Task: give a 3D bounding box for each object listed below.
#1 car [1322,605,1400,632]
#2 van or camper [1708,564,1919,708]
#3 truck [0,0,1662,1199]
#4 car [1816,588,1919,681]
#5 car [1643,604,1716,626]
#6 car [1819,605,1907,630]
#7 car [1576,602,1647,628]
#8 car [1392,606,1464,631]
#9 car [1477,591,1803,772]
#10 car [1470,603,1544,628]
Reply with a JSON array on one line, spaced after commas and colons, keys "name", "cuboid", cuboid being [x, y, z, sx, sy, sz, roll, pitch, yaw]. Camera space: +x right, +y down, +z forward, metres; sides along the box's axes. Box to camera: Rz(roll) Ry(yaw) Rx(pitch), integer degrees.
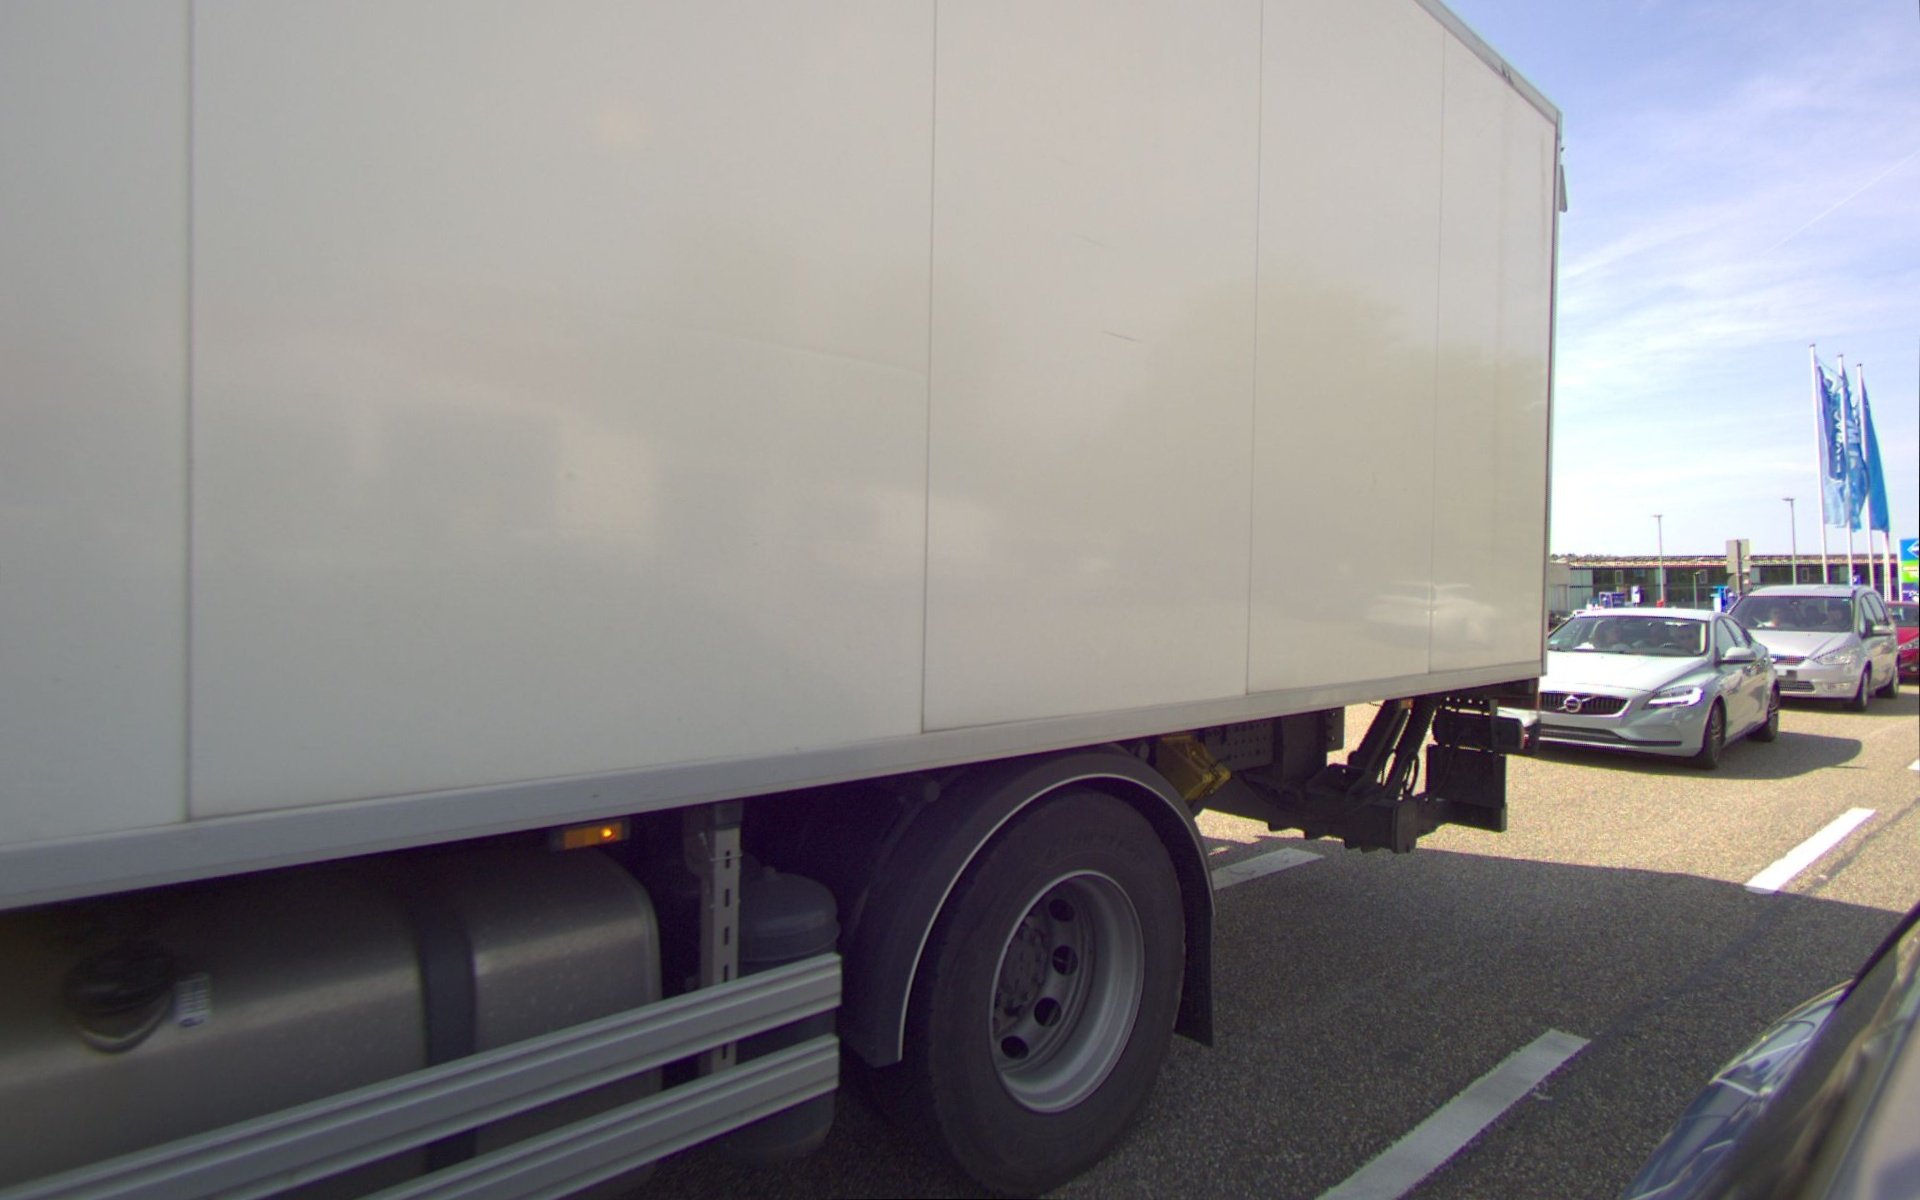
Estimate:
[{"name": "car", "cuboid": [26.482, 1.211, 66.816, 4.436, 1.625, 1.893, -1, -1, -12]}, {"name": "van or camper", "cuboid": [12.872, 0.459, 15.101, 5.045, 1.810, 1.749, 0, -1, -42]}, {"name": "truck", "cuboid": [-1.633, -0.469, 2.412, 10.948, 3.860, 2.883, 0, -1, -42]}, {"name": "car", "cuboid": [17.674, 0.582, 18.982, 3.646, 1.592, 1.805, 0, 1, -38]}, {"name": "car", "cuboid": [49.181, 1.040, 69.252, 1.785, 1.477, 4.051, 1, -1, -8]}, {"name": "car", "cuboid": [63.238, 1.236, 70.986, 1.785, 1.659, 4.471, 1, -1, -8]}, {"name": "car", "cuboid": [43.721, 1.012, 68.036, 1.852, 1.625, 4.025, -1, -1, -6]}, {"name": "car", "cuboid": [31.322, 1.230, 67.813, 3.938, 1.625, 1.893, -1, -1, -9]}, {"name": "car", "cuboid": [6.927, 0.659, 10.138, 4.152, 1.447, 1.737, 0, -1, -42]}, {"name": "car", "cuboid": [37.128, 1.063, 68.735, 3.941, 1.625, 1.892, -1, -1, -5]}]
